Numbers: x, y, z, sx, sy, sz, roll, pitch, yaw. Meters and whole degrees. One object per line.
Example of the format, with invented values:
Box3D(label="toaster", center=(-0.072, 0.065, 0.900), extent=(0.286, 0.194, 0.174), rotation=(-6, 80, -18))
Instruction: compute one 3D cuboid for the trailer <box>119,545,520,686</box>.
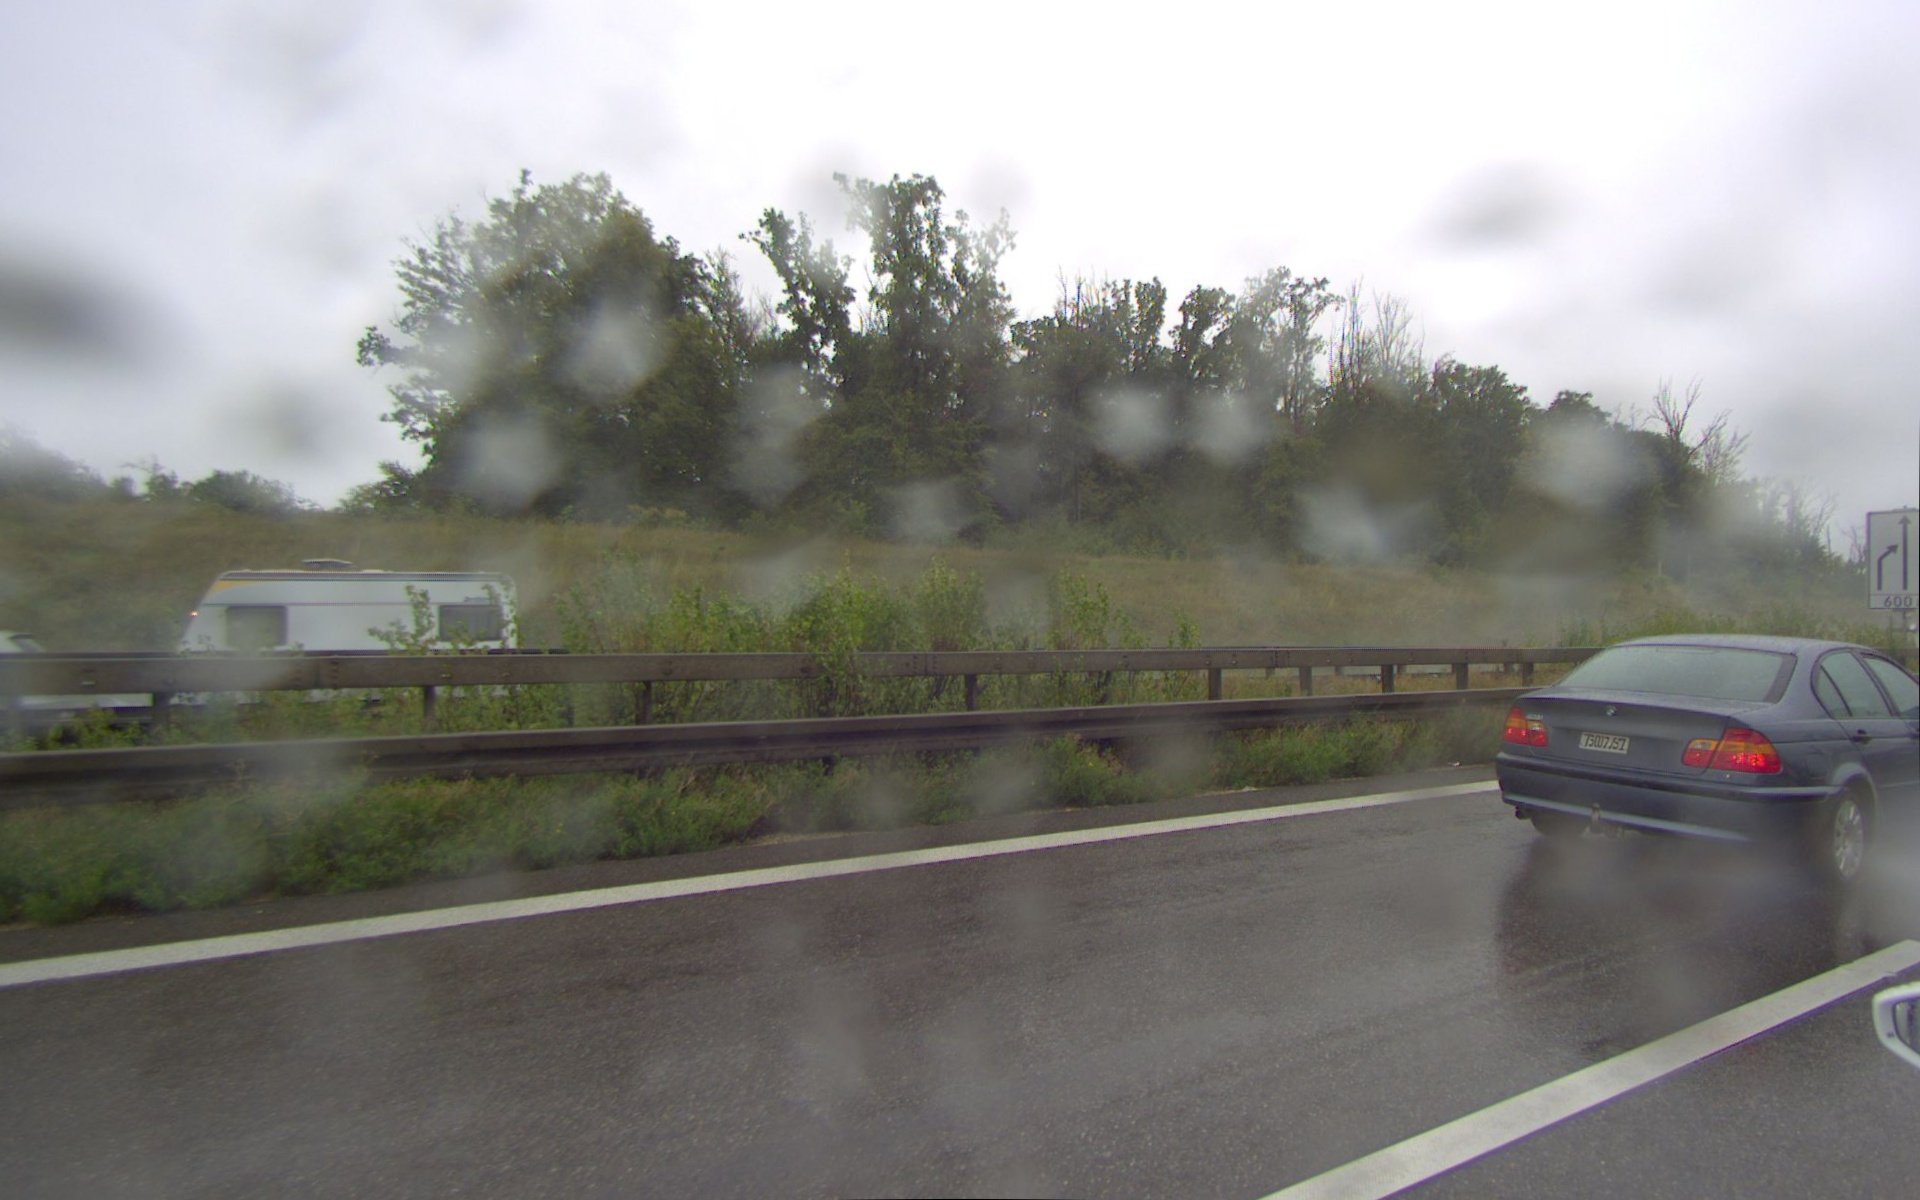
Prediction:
Box3D(label="trailer", center=(-10.402, 0.374, 16.834), extent=(5.290, 2.040, 2.082), rotation=(3, -3, -31))

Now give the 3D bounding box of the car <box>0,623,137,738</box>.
Box3D(label="car", center=(-14.323, 1.137, 14.434), extent=(3.618, 1.558, 1.667), rotation=(0, 0, -30))

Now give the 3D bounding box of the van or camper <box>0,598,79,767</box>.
Box3D(label="van or camper", center=(-10.163, 0.691, 8.467), extent=(3.808, 1.431, 1.983), rotation=(0, 0, -32))

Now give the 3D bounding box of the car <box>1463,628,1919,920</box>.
Box3D(label="car", center=(5.452, 0.929, 6.847), extent=(4.183, 1.418, 1.709), rotation=(1, -1, -32))
